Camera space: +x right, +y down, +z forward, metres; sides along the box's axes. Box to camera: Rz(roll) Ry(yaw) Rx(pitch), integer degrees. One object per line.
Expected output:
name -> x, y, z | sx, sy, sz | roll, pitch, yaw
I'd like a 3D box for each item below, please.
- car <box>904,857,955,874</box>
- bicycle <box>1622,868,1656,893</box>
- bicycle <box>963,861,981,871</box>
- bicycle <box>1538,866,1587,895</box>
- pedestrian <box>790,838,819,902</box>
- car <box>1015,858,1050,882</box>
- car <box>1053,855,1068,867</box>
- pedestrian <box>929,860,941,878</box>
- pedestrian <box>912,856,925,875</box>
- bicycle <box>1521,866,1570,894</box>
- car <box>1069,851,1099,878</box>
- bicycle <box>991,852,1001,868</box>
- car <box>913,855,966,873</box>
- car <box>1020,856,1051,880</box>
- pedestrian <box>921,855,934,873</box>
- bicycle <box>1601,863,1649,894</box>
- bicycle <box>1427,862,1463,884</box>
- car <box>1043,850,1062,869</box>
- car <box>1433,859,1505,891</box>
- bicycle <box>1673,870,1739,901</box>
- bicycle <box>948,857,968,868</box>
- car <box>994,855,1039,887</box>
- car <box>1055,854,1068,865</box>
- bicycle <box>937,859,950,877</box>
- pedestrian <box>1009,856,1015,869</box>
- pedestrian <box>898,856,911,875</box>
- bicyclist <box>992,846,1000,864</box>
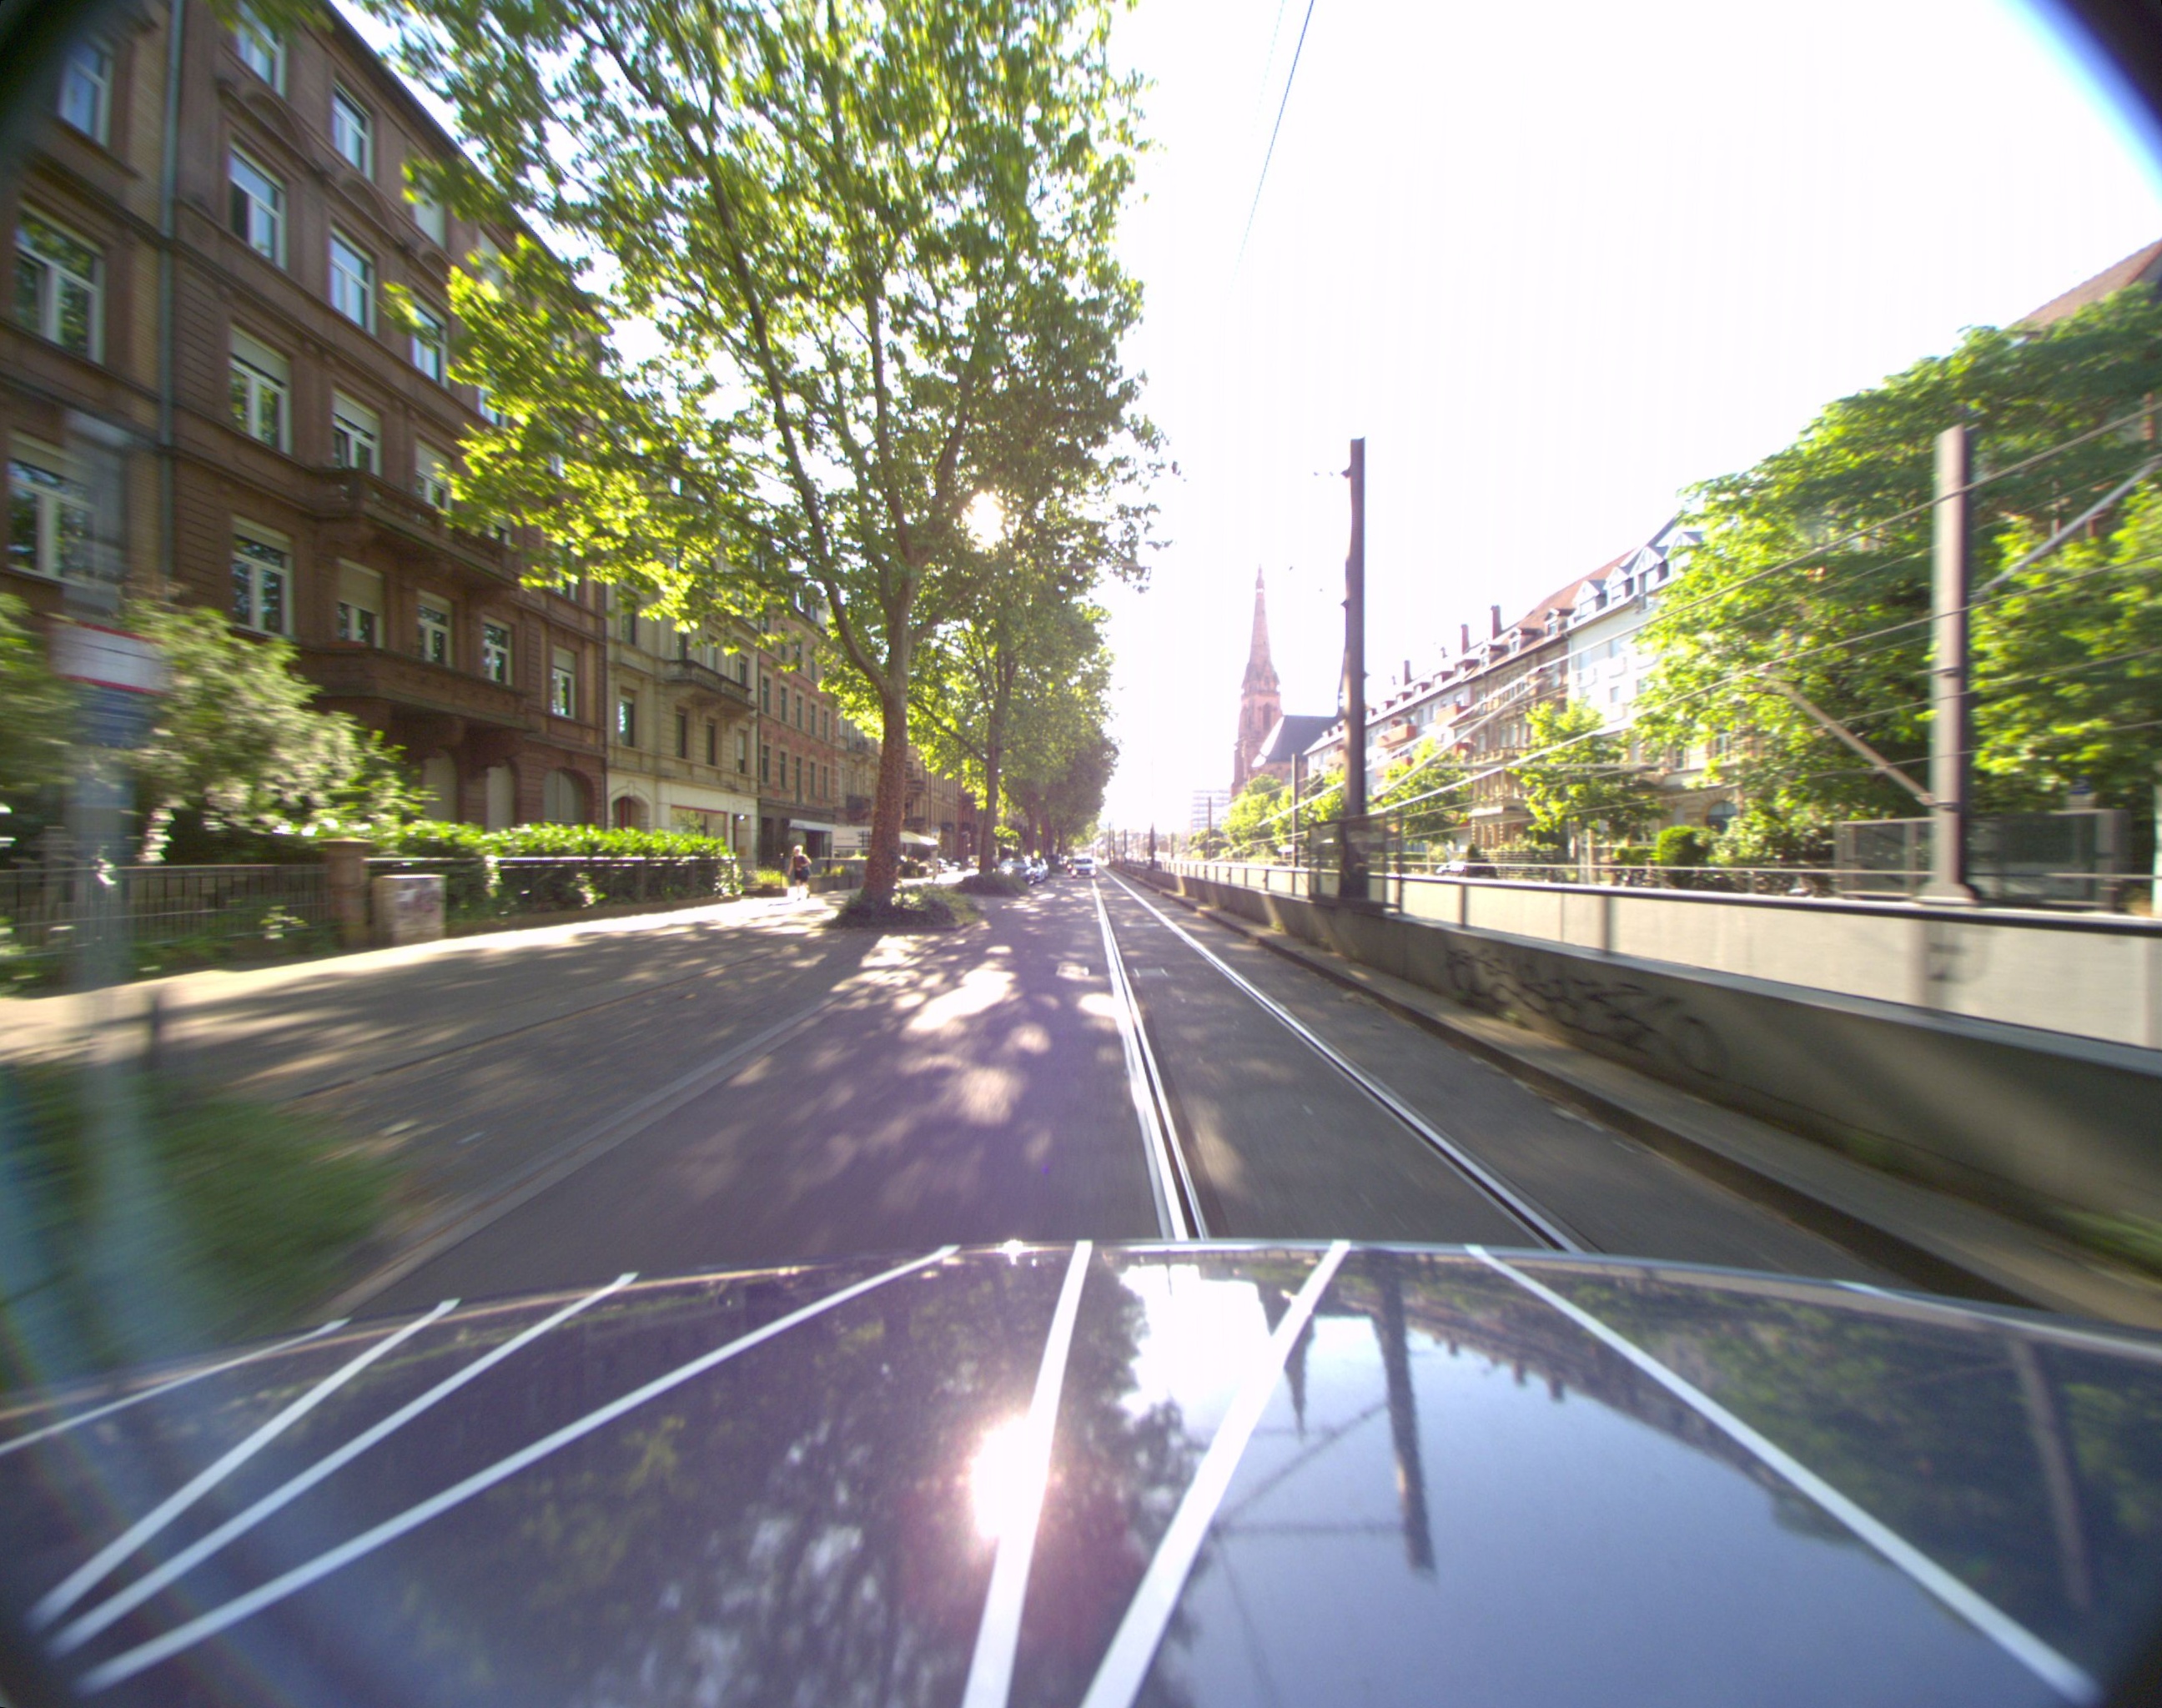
car -> -12.803, 0.981, 64.494 | 3.998, 1.356, 1.743 | 0, -1, -2
bicycle -> 21.472, 1.005, 29.220 | 1.270, 0.900, 0.538 | -3, 0, -30
bicycle -> -10.257, 1.092, 71.389 | 1.696, 0.911, 0.602 | 0, 0, -11
bicycle -> 21.399, 1.158, 33.745 | 2.791, 1.092, 0.641 | -3, 0, -32
pedestrian -> -8.735, 0.492, 24.021 | 0.674, 2.002, 0.633 | 0, 1, 0
car -> -2.909, 0.950, 46.614 | 1.834, 1.319, 4.000 | 0, 0, 1
car -> -2.661, 0.909, 100.239 | 1.718, 1.540, 4.500 | 1, 1, 1
pedestrian -> -10.614, 1.084, 55.151 | 0.714, 1.292, 0.662 | 0, 1, 0
pedestrian -> -11.322, 0.784, 53.032 | 0.714, 1.292, 0.662 | 0, 1, 1
bicycle -> 21.001, 1.179, 34.313 | 2.791, 1.092, 0.641 | -3, 0, -32
car -> 0.286, 0.774, 54.917 | 1.823, 1.728, 4.002 | -4, -1, 4
bicycle -> -6.574, 0.484, 58.901 | 0.562, 1.171, 2.226 | -3, -1, -1
car -> -12.946, 0.917, 69.713 | 4.615, 1.539, 1.922 | -1, 0, -4
car -> -3.064, 0.919, 51.838 | 1.807, 1.469, 4.646 | -1, 0, 0
pedestrian -> -10.895, 0.689, 53.962 | 0.714, 1.292, 0.662 | 0, 1, 0
bicycle -> 21.377, 0.954, 29.836 | 2.379, 1.092, 0.556 | -3, 0, -30
bicycle -> 21.827, 1.139, 45.591 | 1.812, 1.171, 0.562 | -3, 0, 3
car -> -3.140, 0.601, 84.157 | 1.999, 2.001, 5.202 | 0, 0, -1
car -> 21.350, 1.111, 41.981 | 1.837, 1.575, 3.999 | -3, 0, -1
bicycle -> 23.916, 1.176, 29.134 | 0.556, 1.092, 2.376 | -3, 0, 1
bicycle -> -12.459, 0.875, 76.969 | 1.867, 1.147, 0.476 | 0, 1, 4
car -> -3.295, 0.855, 39.633 | 1.736, 1.527, 4.805 | -1, 0, 2
car -> -2.759, 0.737, 106.232 | 1.719, 1.454, 3.999 | 0, 1, 0
bicycle -> -9.078, 0.931, 50.326 | 0.476, 1.137, 1.896 | 2, 0, 1
pedestrian -> -8.401, 1.070, 92.465 | 0.531, 1.618, 0.618 | 1, -1, 1
pedestrian -> -12.062, 0.777, 51.861 | 0.714, 1.292, 0.663 | 0, 1, 2
bicyclist -> -6.591, 0.061, 58.942 | 0.544, 1.372, 0.644 | -3, -1, -1
